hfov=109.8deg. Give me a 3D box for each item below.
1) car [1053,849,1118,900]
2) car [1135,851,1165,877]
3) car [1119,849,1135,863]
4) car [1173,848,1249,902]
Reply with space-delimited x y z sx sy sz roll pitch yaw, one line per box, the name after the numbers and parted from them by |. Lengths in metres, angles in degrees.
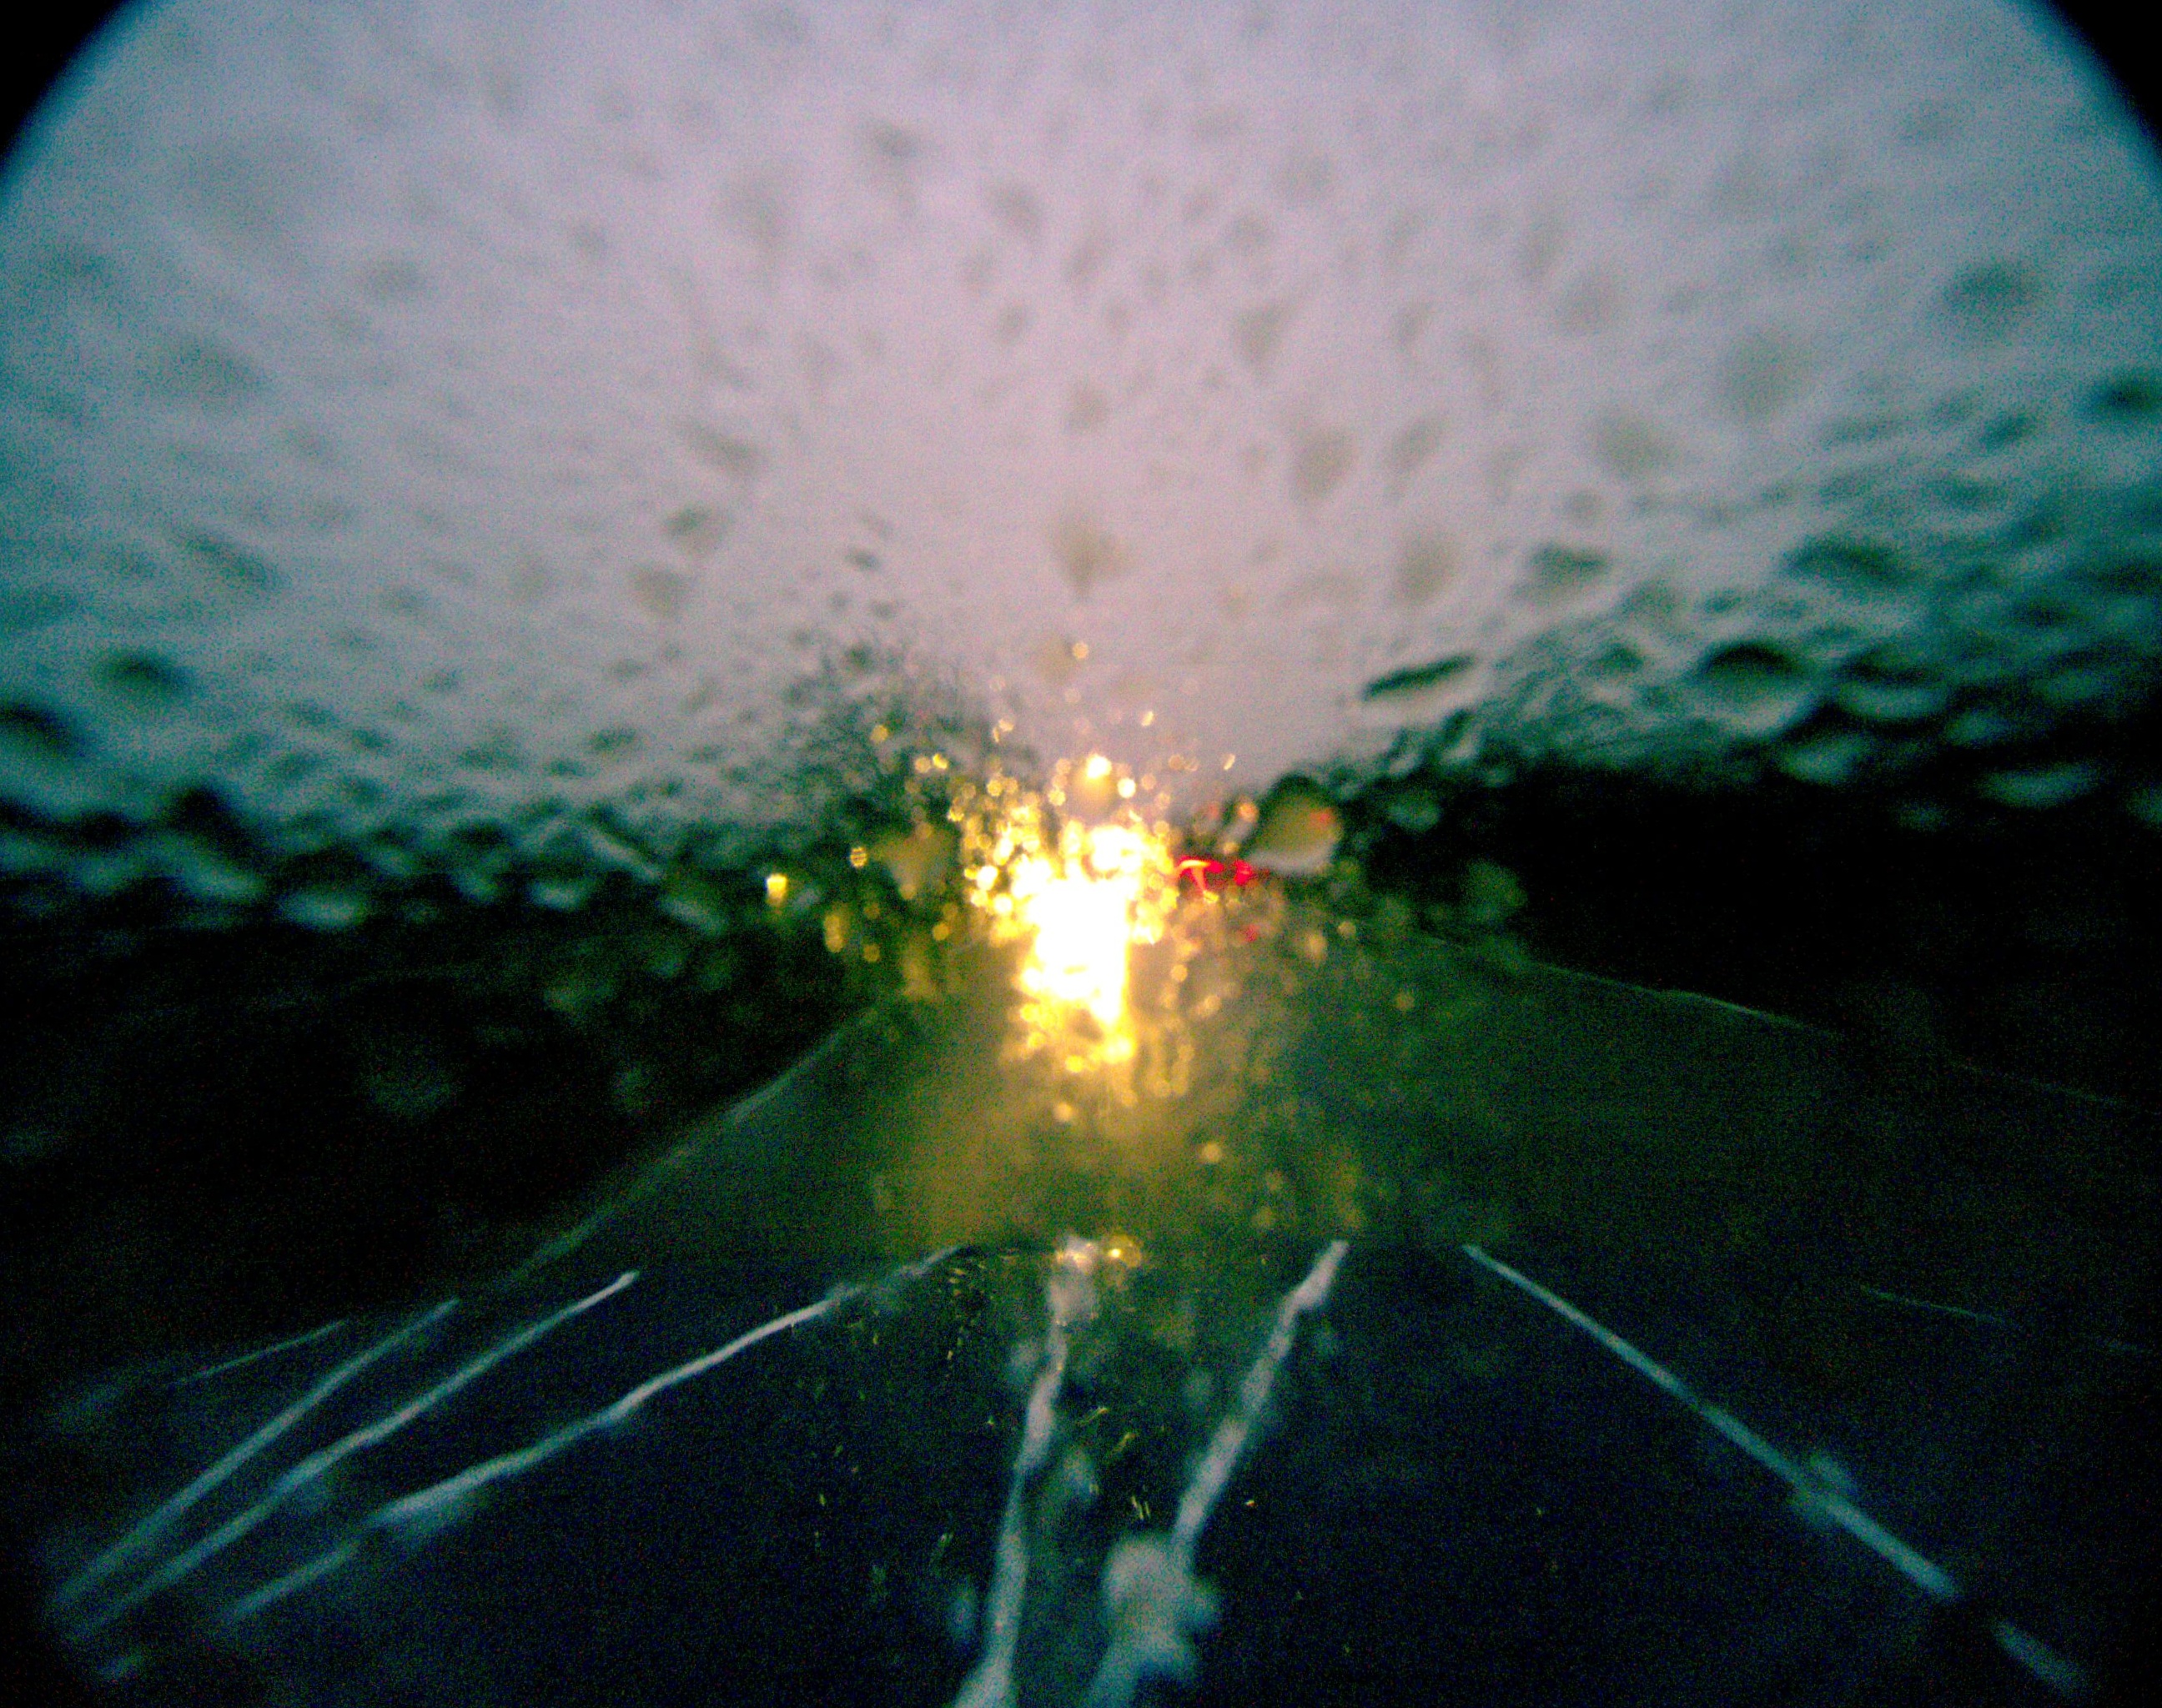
0.246 0.683 27.321 1.998 1.601 4.001 -3 0 5 | car
4.622 0.641 51.489 1.756 1.637 4.049 -2 0 2 | car
5.626 0.235 93.094 1.695 1.521 4.085 -3 0 1 | car
4.255 0.627 25.569 1.784 1.587 4.692 -2 0 1 | car
